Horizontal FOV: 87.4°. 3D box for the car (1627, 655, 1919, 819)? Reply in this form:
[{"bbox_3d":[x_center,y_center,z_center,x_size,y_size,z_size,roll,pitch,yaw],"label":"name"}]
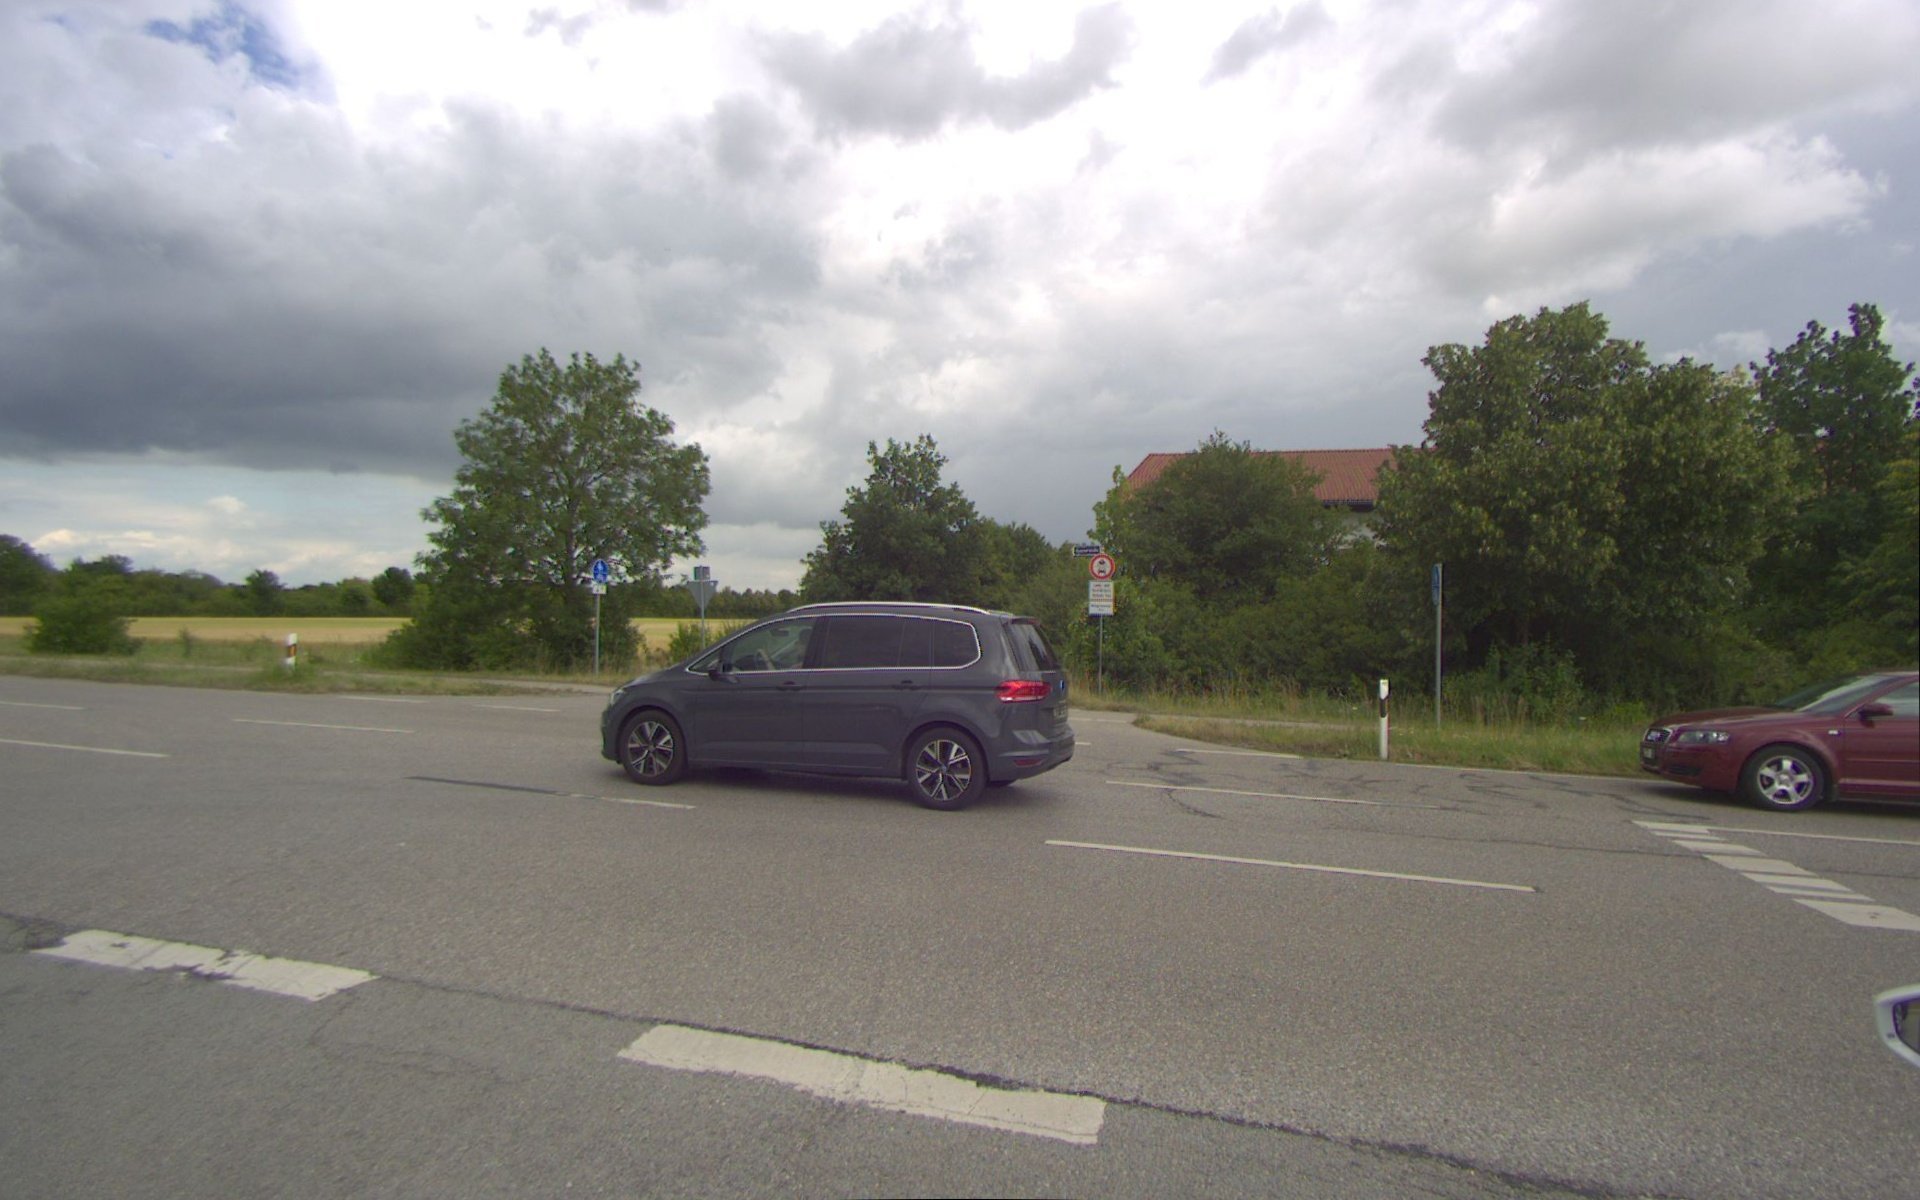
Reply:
[{"bbox_3d":[9.134,1.309,9.854,4.008,1.420,1.679,1,-2,18],"label":"car"}]

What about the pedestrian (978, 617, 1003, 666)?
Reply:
[{"bbox_3d":[1.123,1.521,37.048,0.690,1.746,0.732,1,-1,25],"label":"pedestrian"}]

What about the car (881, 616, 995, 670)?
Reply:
[{"bbox_3d":[-0.909,1.545,37.781,2.089,1.911,5.058,1,-1,-31],"label":"car"}]

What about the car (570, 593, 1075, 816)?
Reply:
[{"bbox_3d":[-1.201,0.837,9.223,4.205,1.680,1.755,1,-2,17],"label":"car"}]
